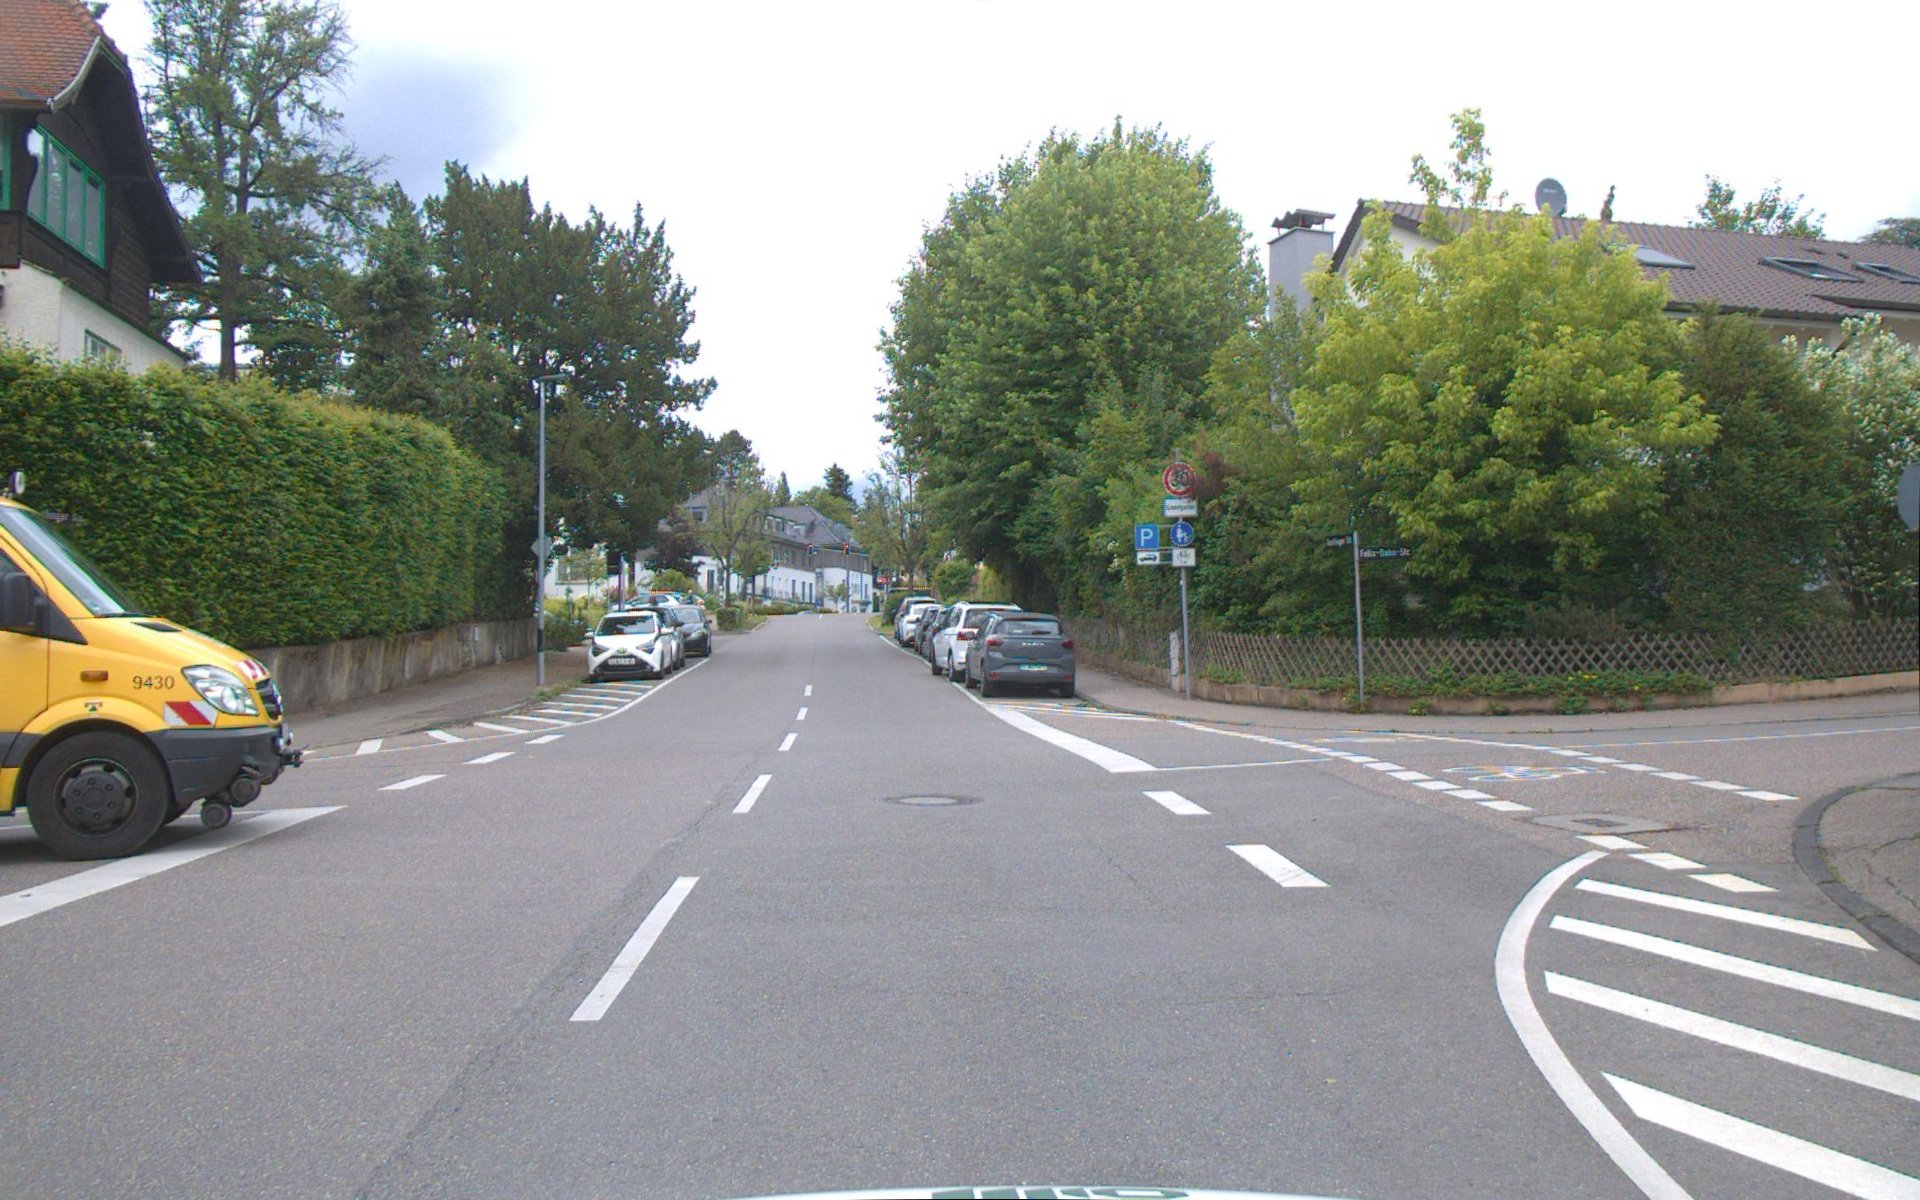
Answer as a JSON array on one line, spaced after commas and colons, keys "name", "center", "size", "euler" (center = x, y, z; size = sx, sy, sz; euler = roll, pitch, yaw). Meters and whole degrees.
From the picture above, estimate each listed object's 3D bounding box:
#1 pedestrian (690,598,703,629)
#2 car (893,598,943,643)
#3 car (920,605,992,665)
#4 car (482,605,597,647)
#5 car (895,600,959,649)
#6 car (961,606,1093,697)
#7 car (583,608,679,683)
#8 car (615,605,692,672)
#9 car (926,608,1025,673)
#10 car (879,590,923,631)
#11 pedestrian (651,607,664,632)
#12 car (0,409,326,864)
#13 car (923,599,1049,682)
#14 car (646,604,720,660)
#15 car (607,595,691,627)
[{"name": "pedestrian", "center": [-14.162, 0.721, 88.848], "size": [0.581, 1.669, 0.565], "euler": [-1, 0, -4]}, {"name": "car", "center": [-1.632, 0.759, 63.015], "size": [1.683, 1.661, 3.925], "euler": [1, 0, -5]}, {"name": "car", "center": [-0.161, 0.932, 46.275], "size": [1.664, 1.534, 4.156], "euler": [1, 0, -4]}, {"name": "car", "center": [-14.567, 0.897, 57.502], "size": [3.726, 1.378, 1.737], "euler": [-1, 0, -11]}, {"name": "car", "center": [-1.193, 0.814, 56.995], "size": [1.954, 1.517, 5.000], "euler": [-1, 0, -4]}, {"name": "car", "center": [1.198, 0.925, 31.762], "size": [1.900, 1.517, 4.451], "euler": [-1, 0, -6]}, {"name": "car", "center": [-7.249, 0.963, 36.685], "size": [1.711, 1.473, 3.509], "euler": [-2, 1, -6]}, {"name": "car", "center": [-7.566, 0.927, 40.996], "size": [1.592, 1.545, 2.972], "euler": [-1, 0, -6]}, {"name": "car", "center": [0.328, 0.960, 41.329], "size": [1.776, 1.478, 4.369], "euler": [-1, 0, -9]}, {"name": "car", "center": [-2.869, 0.487, 79.525], "size": [1.898, 1.870, 5.214], "euler": [-1, 0, -4]}, {"name": "pedestrian", "center": [-16.018, 1.028, 87.582], "size": [0.595, 1.305, 0.898], "euler": [1, 0, -5]}, {"name": "car", "center": [-7.239, 0.243, 10.256], "size": [6.033, 2.647, 2.354], "euler": [-1, 0, -20]}, {"name": "car", "center": [0.490, 0.835, 36.658], "size": [1.964, 1.637, 4.748], "euler": [-1, 0, -9]}, {"name": "car", "center": [-8.115, 0.900, 48.778], "size": [1.815, 1.495, 4.677], "euler": [-1, 0, -6]}, {"name": "car", "center": [-16.825, 0.591, 89.596], "size": [4.302, 1.594, 2.064], "euler": [-1, 0, -6]}]
